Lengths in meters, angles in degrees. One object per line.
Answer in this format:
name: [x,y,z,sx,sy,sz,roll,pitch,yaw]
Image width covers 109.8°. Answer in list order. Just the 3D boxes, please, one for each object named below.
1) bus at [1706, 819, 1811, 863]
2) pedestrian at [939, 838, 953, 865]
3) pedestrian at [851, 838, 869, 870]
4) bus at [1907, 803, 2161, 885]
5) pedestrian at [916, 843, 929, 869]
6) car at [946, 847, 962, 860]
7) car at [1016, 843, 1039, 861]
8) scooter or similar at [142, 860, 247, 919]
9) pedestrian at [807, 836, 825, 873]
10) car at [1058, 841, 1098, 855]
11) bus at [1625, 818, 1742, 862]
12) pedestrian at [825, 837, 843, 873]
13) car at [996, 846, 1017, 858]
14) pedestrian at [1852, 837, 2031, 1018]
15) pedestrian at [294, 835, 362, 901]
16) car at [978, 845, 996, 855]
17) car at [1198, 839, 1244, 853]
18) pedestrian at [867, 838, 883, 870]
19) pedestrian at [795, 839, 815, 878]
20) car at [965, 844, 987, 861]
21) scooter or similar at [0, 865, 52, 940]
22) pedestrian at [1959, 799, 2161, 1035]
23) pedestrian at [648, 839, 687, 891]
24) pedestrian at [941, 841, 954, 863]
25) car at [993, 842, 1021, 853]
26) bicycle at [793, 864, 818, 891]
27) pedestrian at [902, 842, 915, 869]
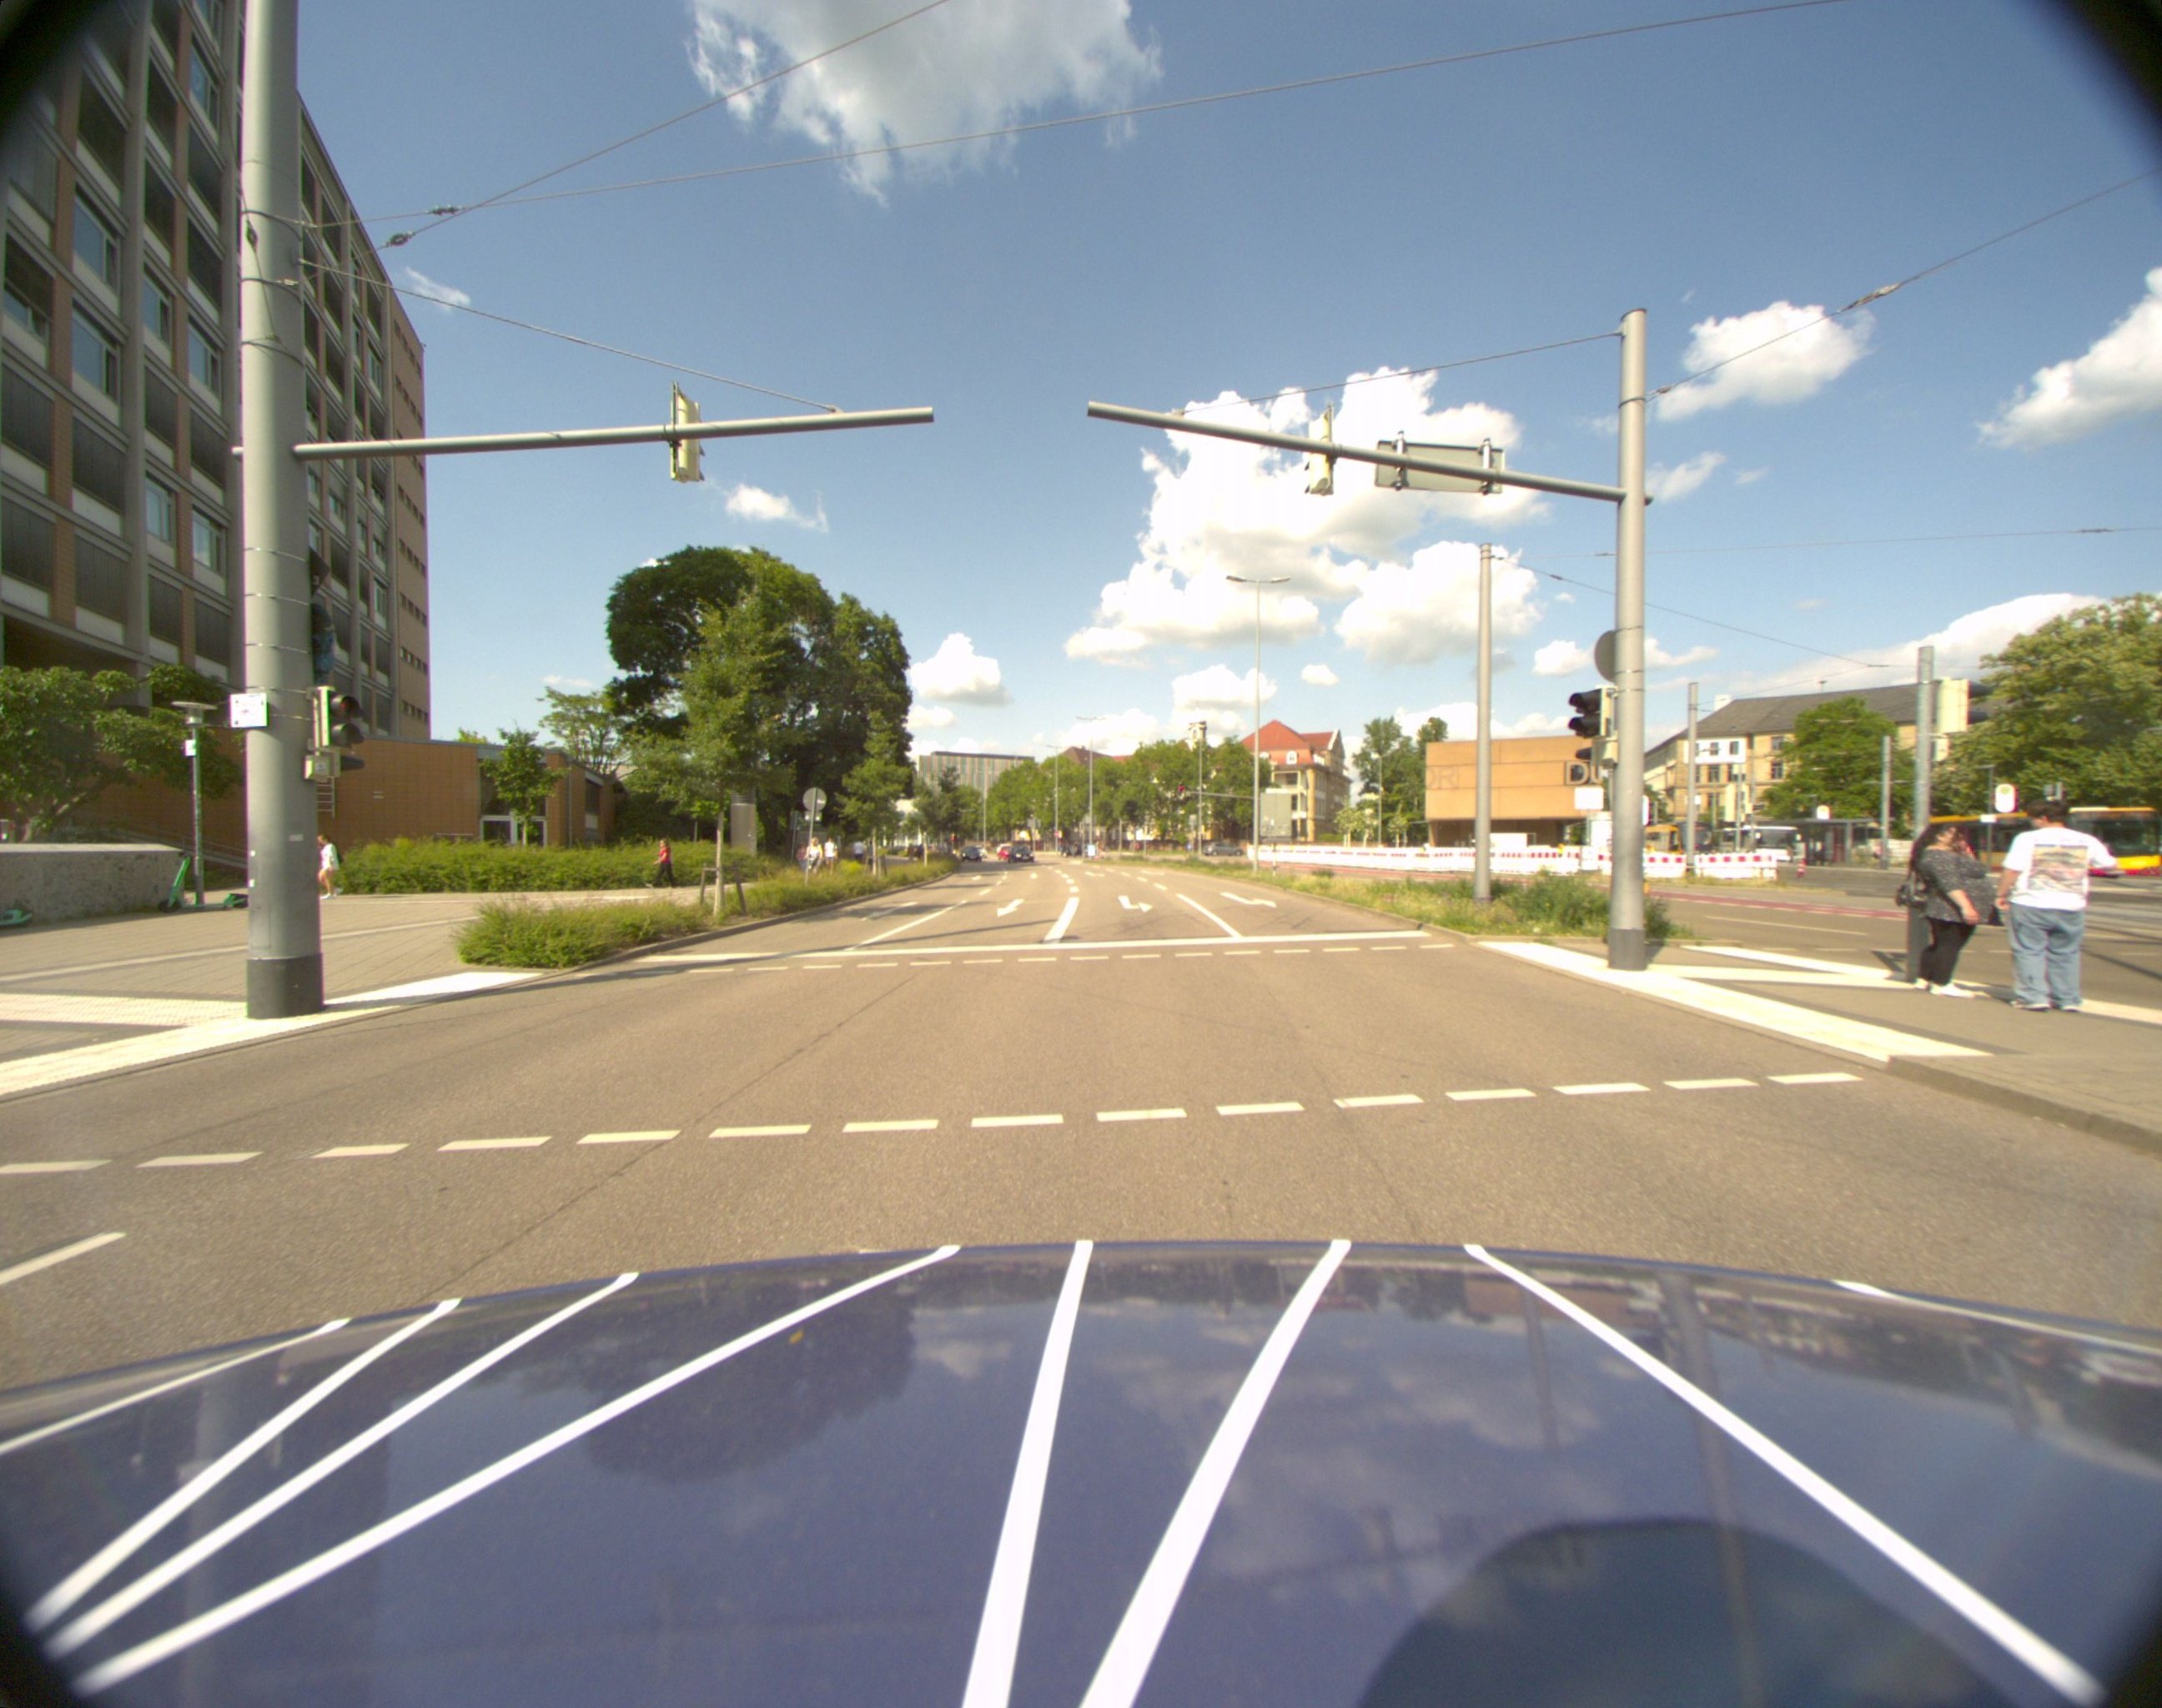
bus: [63.465,-1.156,71.848,3.599,3.611,18.907,1,1,30]
pedestrian: [-10.308,-0.207,58.024,0.965,2.002,0.768,-2,2,-5]
pedestrian: [-12.286,-0.018,42.248,0.744,1.736,0.888,2,2,-9]
bus: [43.461,-0.472,35.237,2.826,3.118,12.863,1,1,28]
pedestrian: [-10.731,0.119,51.445,0.768,1.725,0.718,-2,2,-11]
car: [-15.076,-0.096,90.373,1.827,1.455,3.996,-1,1,-8]
car: [-4.543,-0.165,64.221,1.826,1.455,3.997,-1,1,-5]
scooter or similar: [-17.326,0.676,14.883,0.464,1.097,1.321,2,1,42]
pedestrian: [-12.649,0.020,36.285,0.616,1.690,0.888,2,2,-8]
car: [-0.290,-0.607,79.941,3.779,1.327,1.736,0,2,29]
bus: [51.885,-1.201,66.503,3.467,3.165,23.820,1,1,27]
pedestrian: [-11.834,0.024,36.463,0.616,1.690,0.888,2,2,-8]
car: [-7.455,-0.247,75.597,1.599,1.127,3.624,-1,1,-14]
pedestrian: [8.130,0.660,7.214,0.850,1.638,0.692,0,2,-3]
pedestrian: [-19.109,0.353,19.303,1.098,1.613,0.614,1,2,-32]
car: [-11.044,-0.463,89.085,1.910,1.127,4.098,-1,1,-10]
car: [14.594,-0.860,79.076,4.270,1.368,1.997,-2,2,-12]
pedestrian: [-11.471,0.010,42.342,0.744,1.744,0.888,2,2,-9]
pedestrian: [-11.945,0.177,32.936,0.616,1.613,0.888,2,2,-8]
car: [-9.595,-0.190,69.773,1.826,1.455,3.997,-1,1,-6]
scooter or similar: [-16.765,0.753,11.661,0.466,1.111,1.444,1,1,-23]
pedestrian: [8.353,0.505,6.480,0.850,1.906,0.692,0,2,-3]
pedestrian: [-13.300,0.333,24.454,0.614,1.613,0.891,3,2,28]
pedestrian: [-10.630,-0.156,60.594,0.928,1.725,0.768,-2,2,-5]
car: [-9.195,-0.826,94.177,1.782,1.347,3.989,-3,2,-33]
bicycle: [-9.674,0.805,26.745,0.649,0.876,1.819,-2,1,-15]
pedestrian: [-11.467,0.100,50.625,0.768,1.725,0.718,-2,2,-11]
